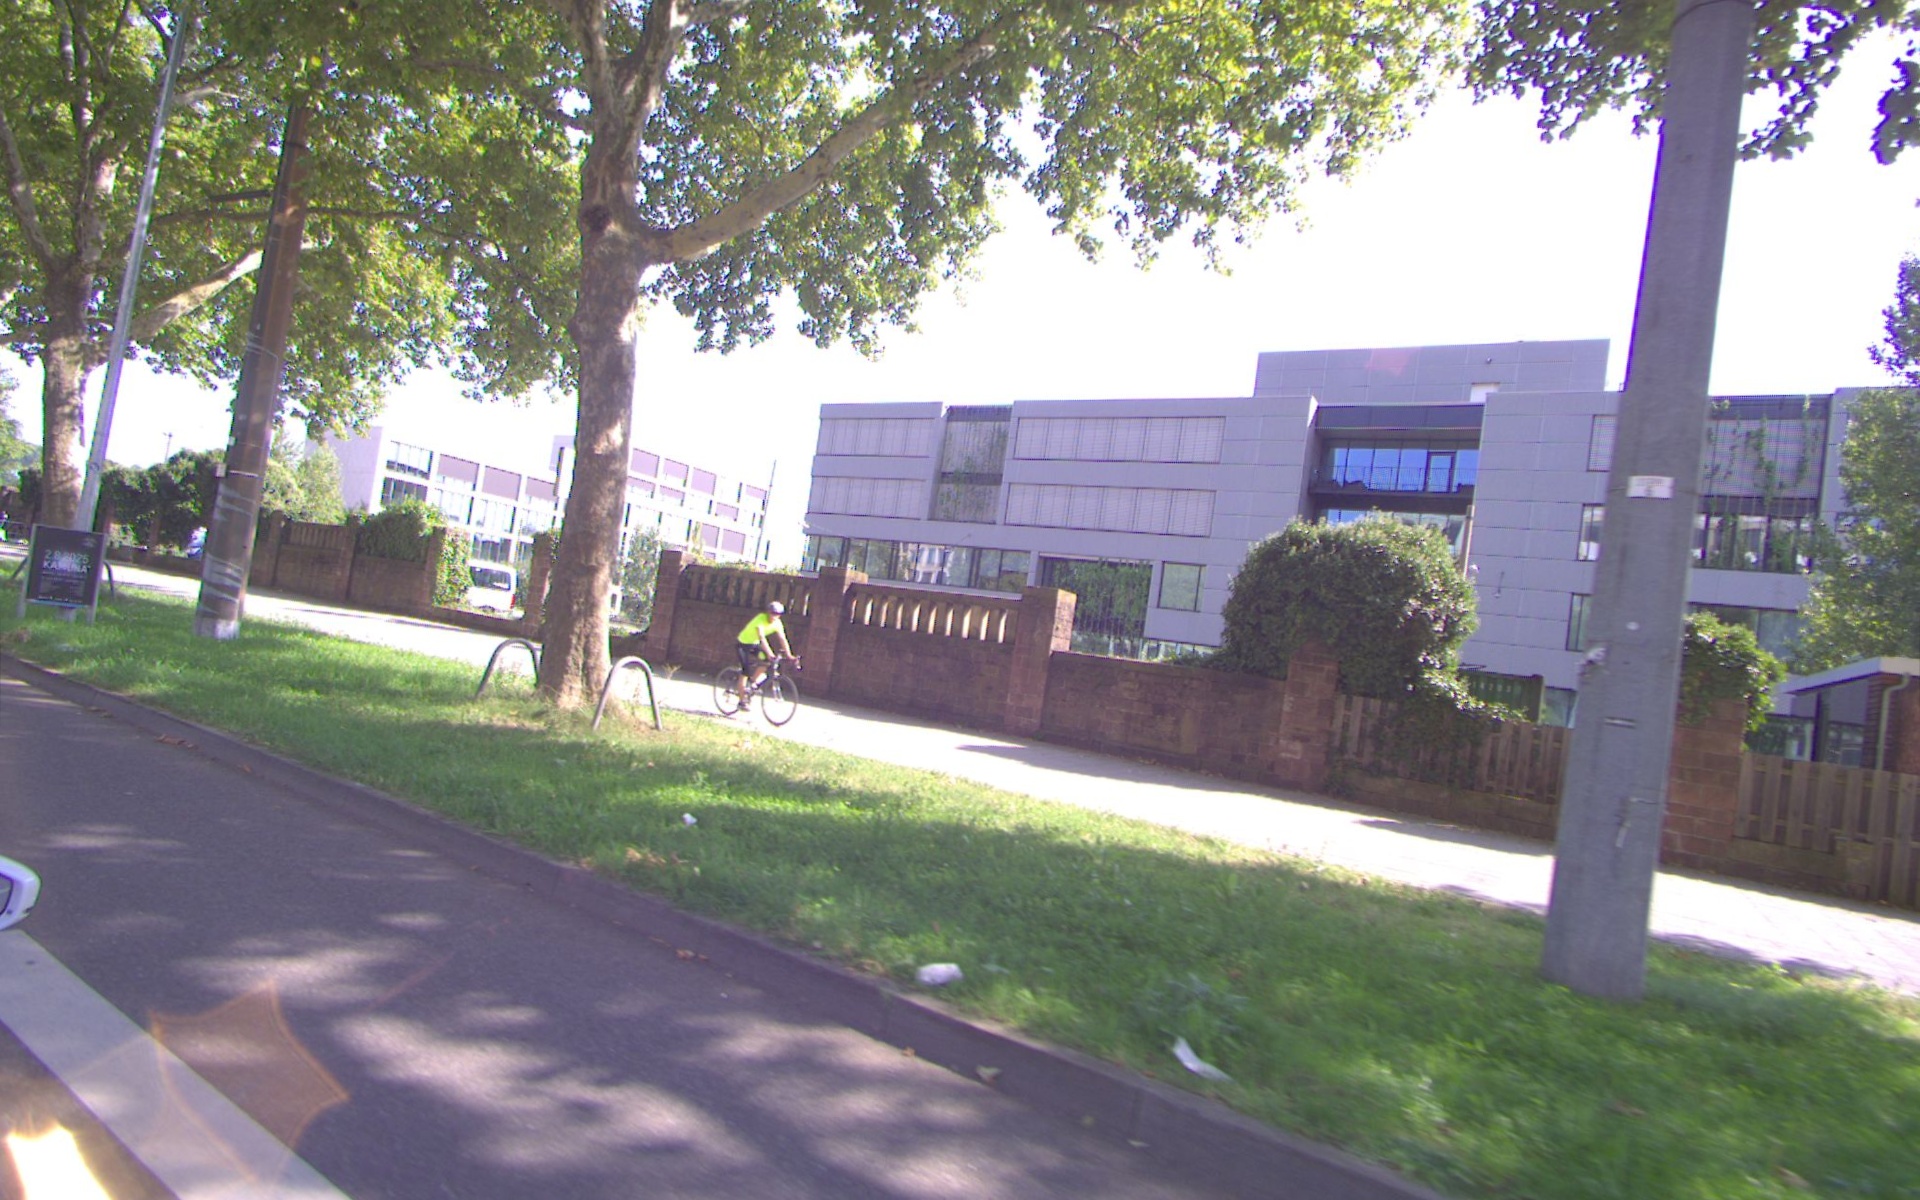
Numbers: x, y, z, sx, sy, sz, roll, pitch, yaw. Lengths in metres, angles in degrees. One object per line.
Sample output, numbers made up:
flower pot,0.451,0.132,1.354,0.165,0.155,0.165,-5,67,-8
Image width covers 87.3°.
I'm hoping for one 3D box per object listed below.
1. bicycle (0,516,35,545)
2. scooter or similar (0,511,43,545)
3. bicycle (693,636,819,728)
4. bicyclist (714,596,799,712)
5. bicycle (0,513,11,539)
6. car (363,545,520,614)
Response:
bicycle,-39.428,-2.947,41.322,0.723,1.017,1.872,7,-3,31
scooter or similar,-38.442,-2.952,40.926,0.530,1.205,1.506,6,-2,36
bicycle,-2.829,1.119,13.903,1.685,1.018,0.549,7,-2,33
bicyclist,-2.816,0.749,13.944,0.828,1.469,0.549,7,-2,33
bicycle,-42.149,-3.349,42.957,0.731,1.088,2.179,7,-3,31
car,-18.346,-0.682,35.833,1.877,1.753,4.533,7,-3,30
